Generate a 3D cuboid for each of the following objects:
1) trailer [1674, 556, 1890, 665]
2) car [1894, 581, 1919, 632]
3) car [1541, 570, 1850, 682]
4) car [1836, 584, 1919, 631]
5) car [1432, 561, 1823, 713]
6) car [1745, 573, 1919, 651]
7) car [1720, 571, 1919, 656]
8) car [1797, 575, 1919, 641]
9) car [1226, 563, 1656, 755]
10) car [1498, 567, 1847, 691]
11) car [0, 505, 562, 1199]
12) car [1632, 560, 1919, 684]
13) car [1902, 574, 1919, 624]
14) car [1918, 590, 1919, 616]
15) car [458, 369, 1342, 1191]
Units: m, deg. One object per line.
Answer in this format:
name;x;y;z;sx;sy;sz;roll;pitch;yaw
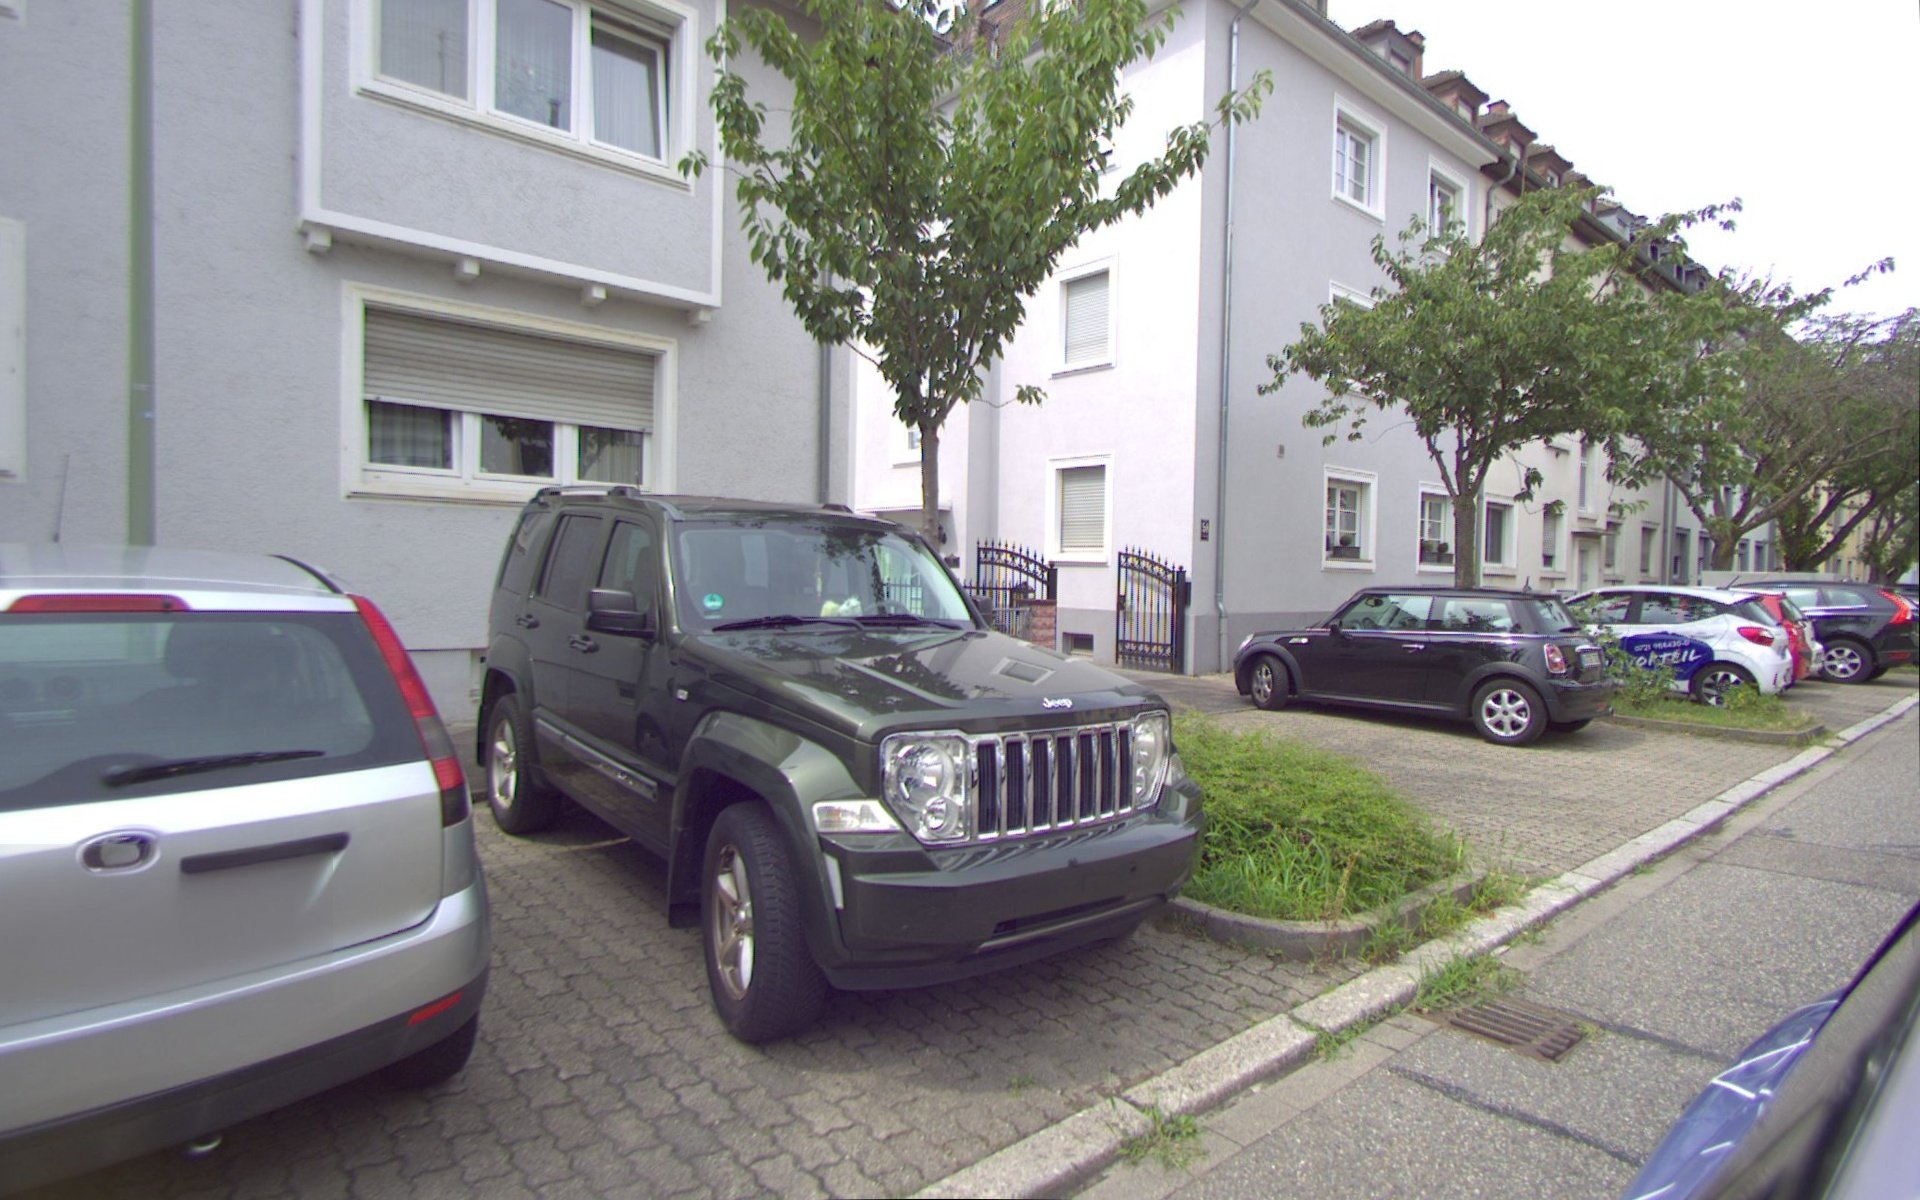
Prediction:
trailer;16.049;0.143;19.867;1.374;1.853;2.971;0;4;-36
car;31.716;0.323;31.246;1.609;1.554;3.997;0;4;-40
car;12.104;0.336;16.843;1.831;1.459;3.758;0;4;-39
car;32.547;0.310;34.357;1.609;1.437;3.997;0;4;-40
car;8.706;0.354;13.464;1.738;1.548;3.994;0;4;-43
car;21.932;0.279;24.552;1.871;1.617;4.223;0;4;-42
car;20.044;0.271;22.884;1.871;1.617;4.223;0;4;-42
car;27.344;0.244;29.455;1.869;1.697;4.228;0;4;-38
car;4.803;0.442;10.456;1.777;1.470;3.551;0;4;-41
car;10.610;0.328;15.293;1.738;1.427;3.994;0;4;-43
car;-2.813;0.459;3.062;1.744;1.472;3.630;-1;4;-44
car;14.525;0.294;17.642;1.869;1.756;4.228;0;4;-38
car;42.057;0.093;41.191;2.039;2.047;5.236;0;4;-44
car;48.415;0.139;47.698;1.819;1.528;4.556;0;4;-42
car;-0.843;0.259;4.635;1.760;1.880;4.540;0;4;-37
